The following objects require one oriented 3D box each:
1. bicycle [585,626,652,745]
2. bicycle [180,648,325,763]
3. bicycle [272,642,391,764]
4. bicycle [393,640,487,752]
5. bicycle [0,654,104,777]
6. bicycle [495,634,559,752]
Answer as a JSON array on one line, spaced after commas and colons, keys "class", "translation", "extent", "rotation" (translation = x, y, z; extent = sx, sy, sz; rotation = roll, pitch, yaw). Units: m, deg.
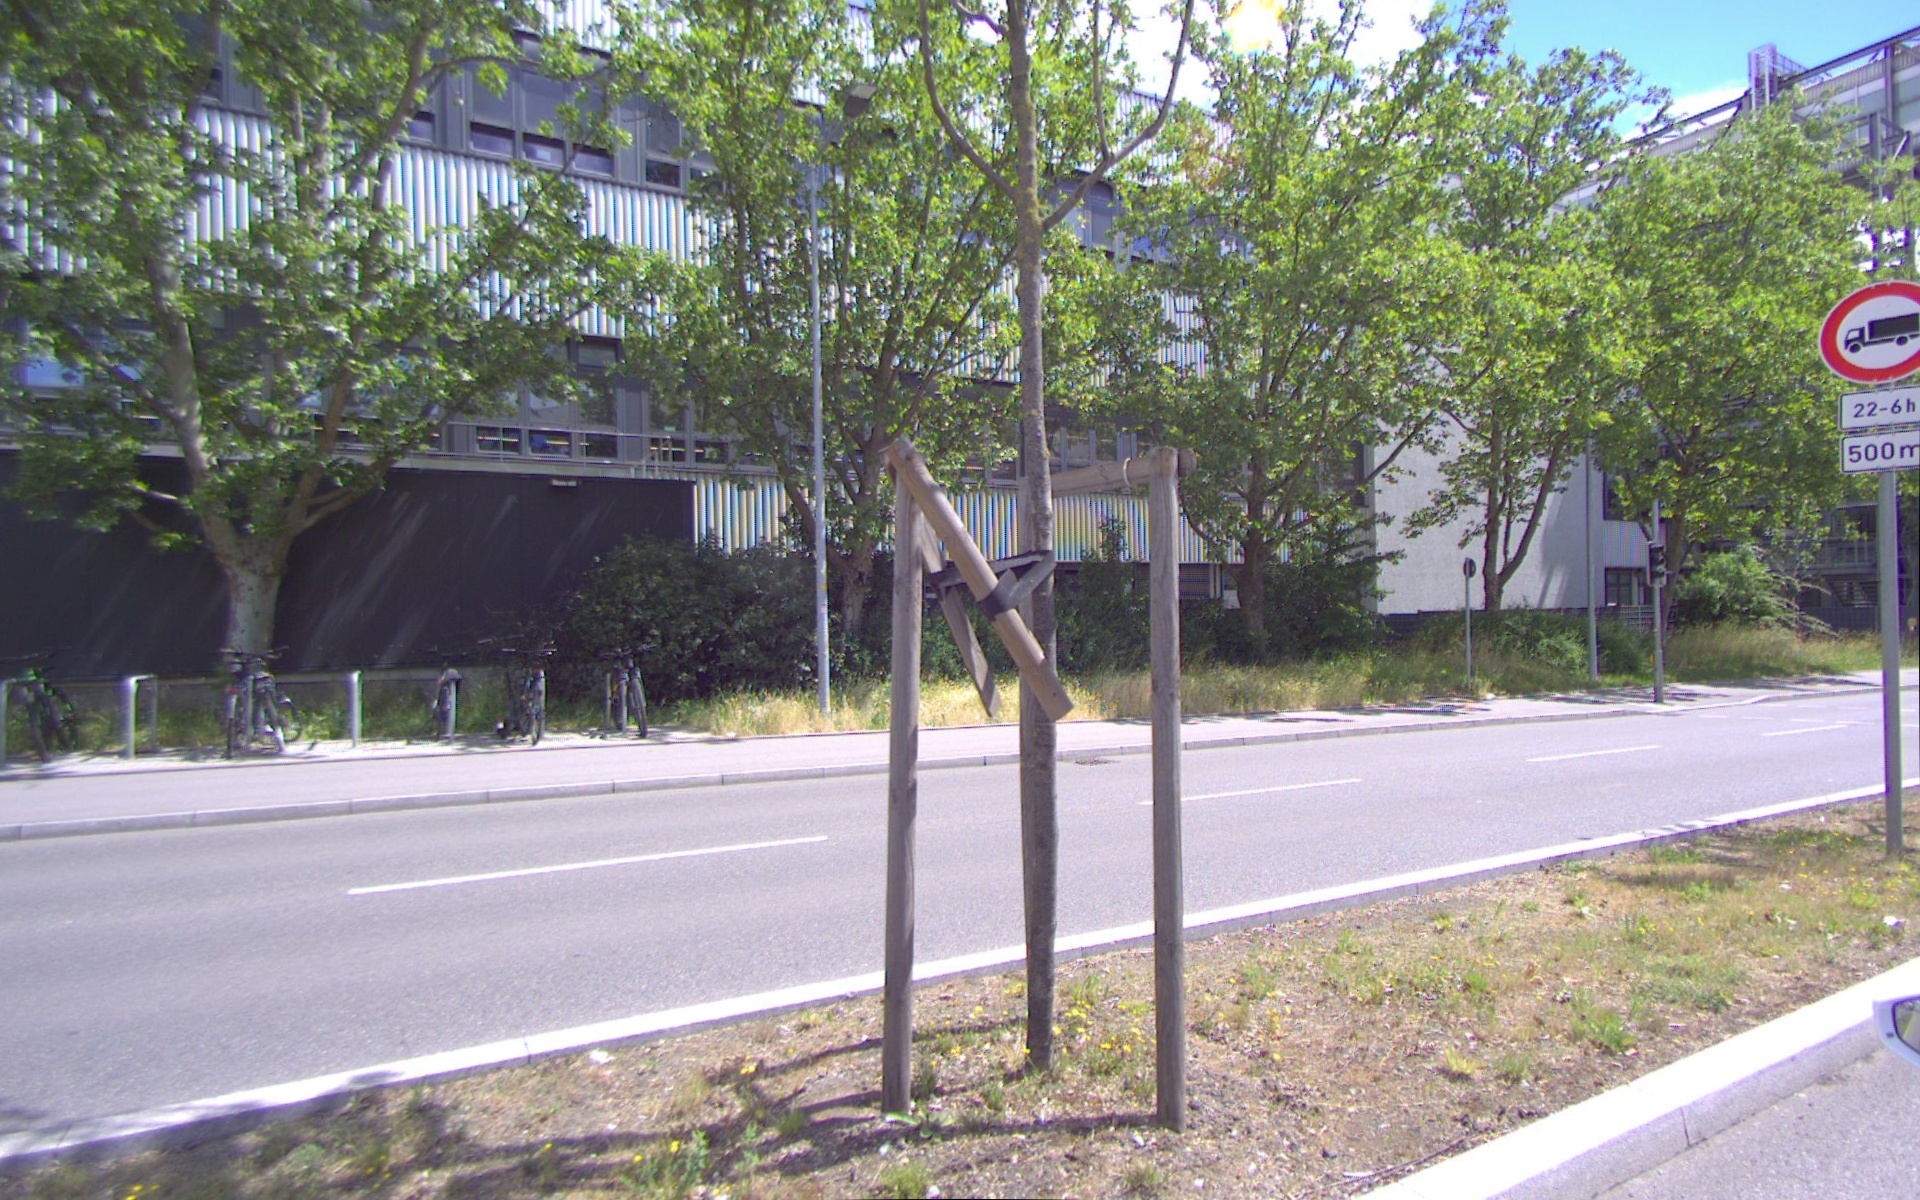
[{"class": "bicycle", "translation": [-4.492, 1.054, 13.135], "extent": [0.483, 1.382, 2.158], "rotation": [1, 0, -28]}, {"class": "bicycle", "translation": [-8.024, 1.134, 11.529], "extent": [0.685, 1.110, 2.562], "rotation": [1, -2, -20]}, {"class": "bicycle", "translation": [-7.278, 1.121, 11.761], "extent": [0.634, 1.173, 2.561], "rotation": [1, 0, -20]}, {"class": "bicycle", "translation": [-6.506, 1.143, 12.692], "extent": [0.714, 1.173, 2.561], "rotation": [1, 0, -20]}, {"class": "bicycle", "translation": [-9.661, 1.145, 10.593], "extent": [0.844, 1.020, 2.812], "rotation": [1, 0, -38]}, {"class": "bicycle", "translation": [-5.465, 1.098, 12.604], "extent": [0.549, 1.274, 2.395], "rotation": [1, 0, -28]}]
